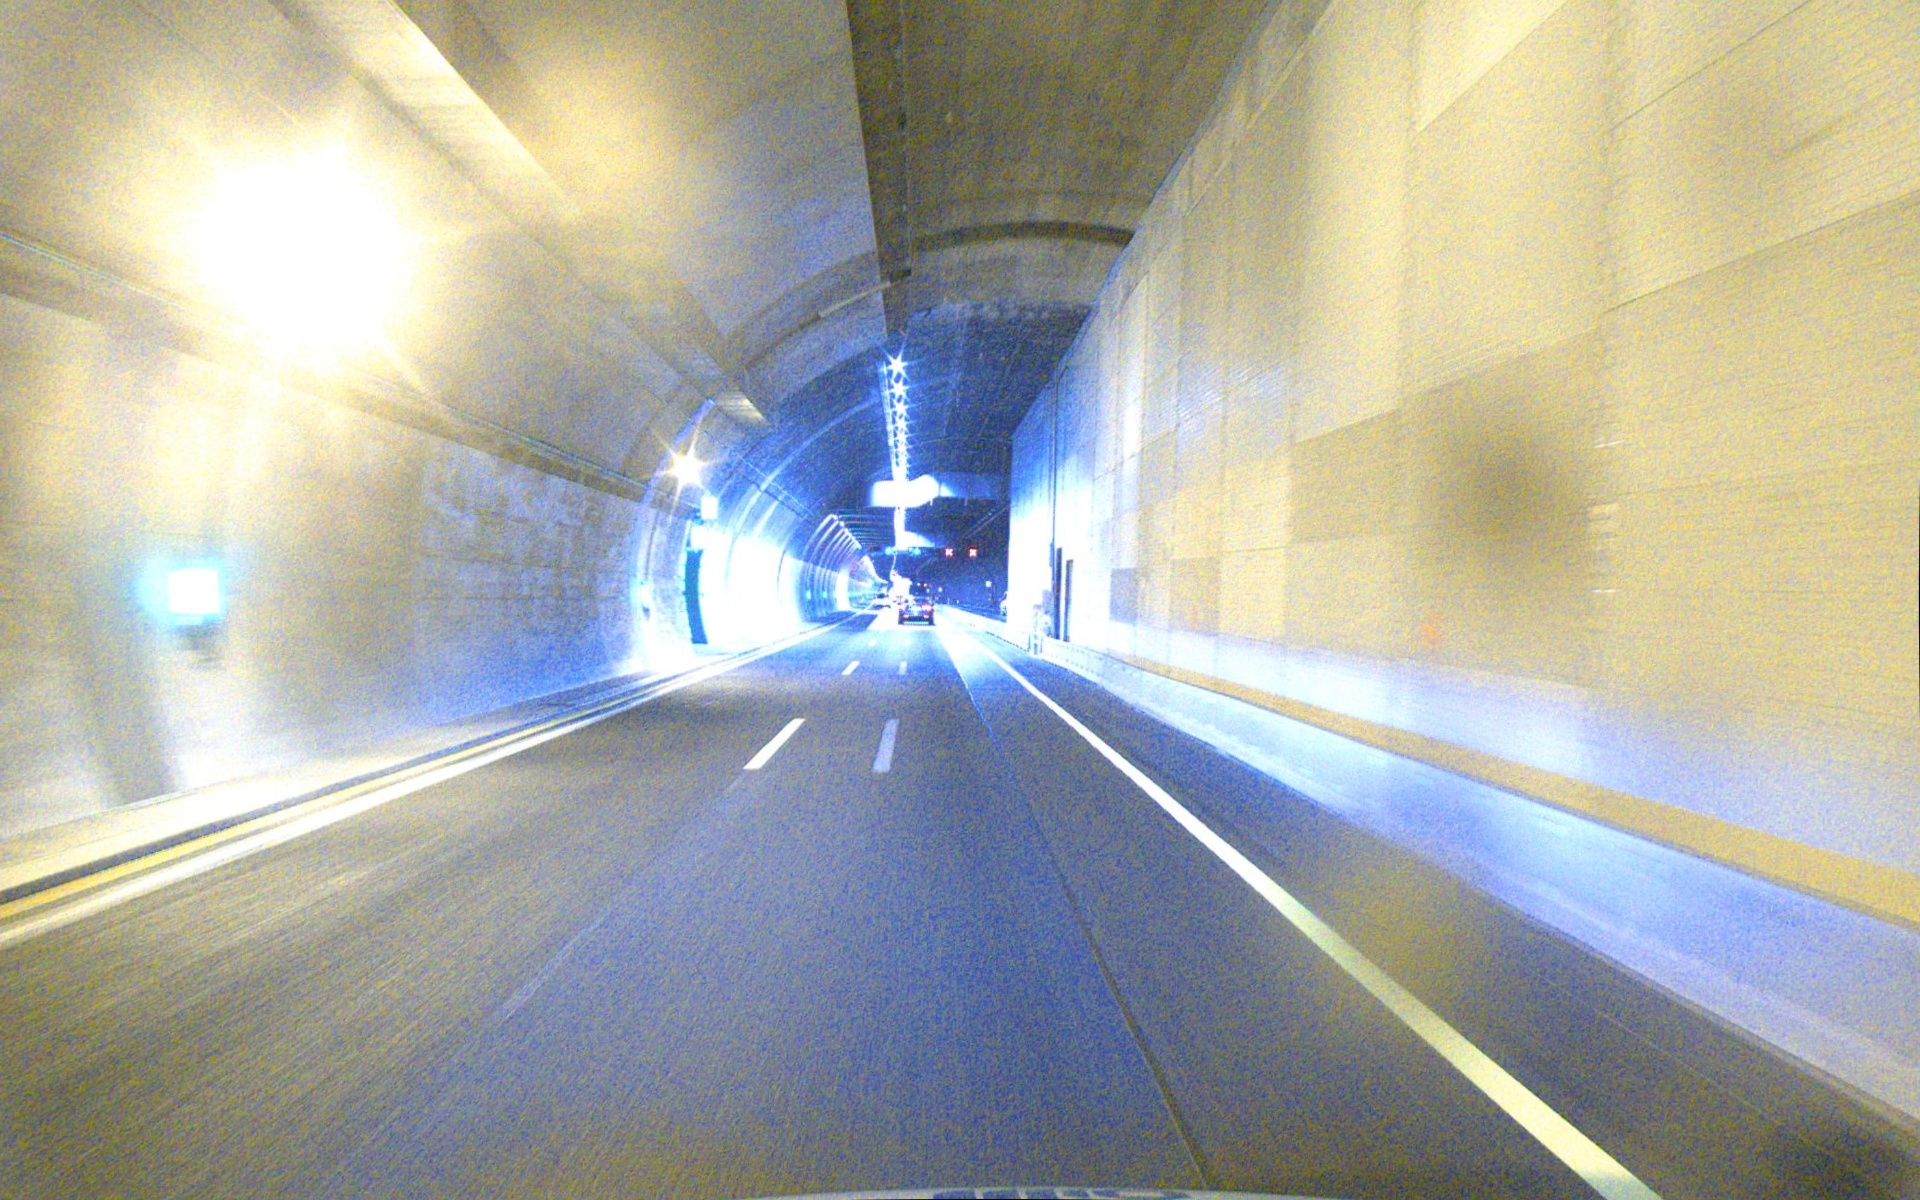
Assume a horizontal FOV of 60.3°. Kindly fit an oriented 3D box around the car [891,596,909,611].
[{"bbox_3d":[-6.814,0.388,187.764,1.892,1.716,3.998,-1,0,-3],"label":"car"}]

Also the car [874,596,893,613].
[{"bbox_3d":[-8.034,0.473,173.773,1.891,1.716,3.998,-1,0,-2],"label":"car"}]

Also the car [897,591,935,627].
[{"bbox_3d":[-2.274,0.449,85.660,1.907,1.826,3.998,-1,0,-2],"label":"car"}]

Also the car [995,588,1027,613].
[{"bbox_3d":[3.879,0.039,125.921,1.717,1.877,4.639,-1,0,-7],"label":"car"}]
